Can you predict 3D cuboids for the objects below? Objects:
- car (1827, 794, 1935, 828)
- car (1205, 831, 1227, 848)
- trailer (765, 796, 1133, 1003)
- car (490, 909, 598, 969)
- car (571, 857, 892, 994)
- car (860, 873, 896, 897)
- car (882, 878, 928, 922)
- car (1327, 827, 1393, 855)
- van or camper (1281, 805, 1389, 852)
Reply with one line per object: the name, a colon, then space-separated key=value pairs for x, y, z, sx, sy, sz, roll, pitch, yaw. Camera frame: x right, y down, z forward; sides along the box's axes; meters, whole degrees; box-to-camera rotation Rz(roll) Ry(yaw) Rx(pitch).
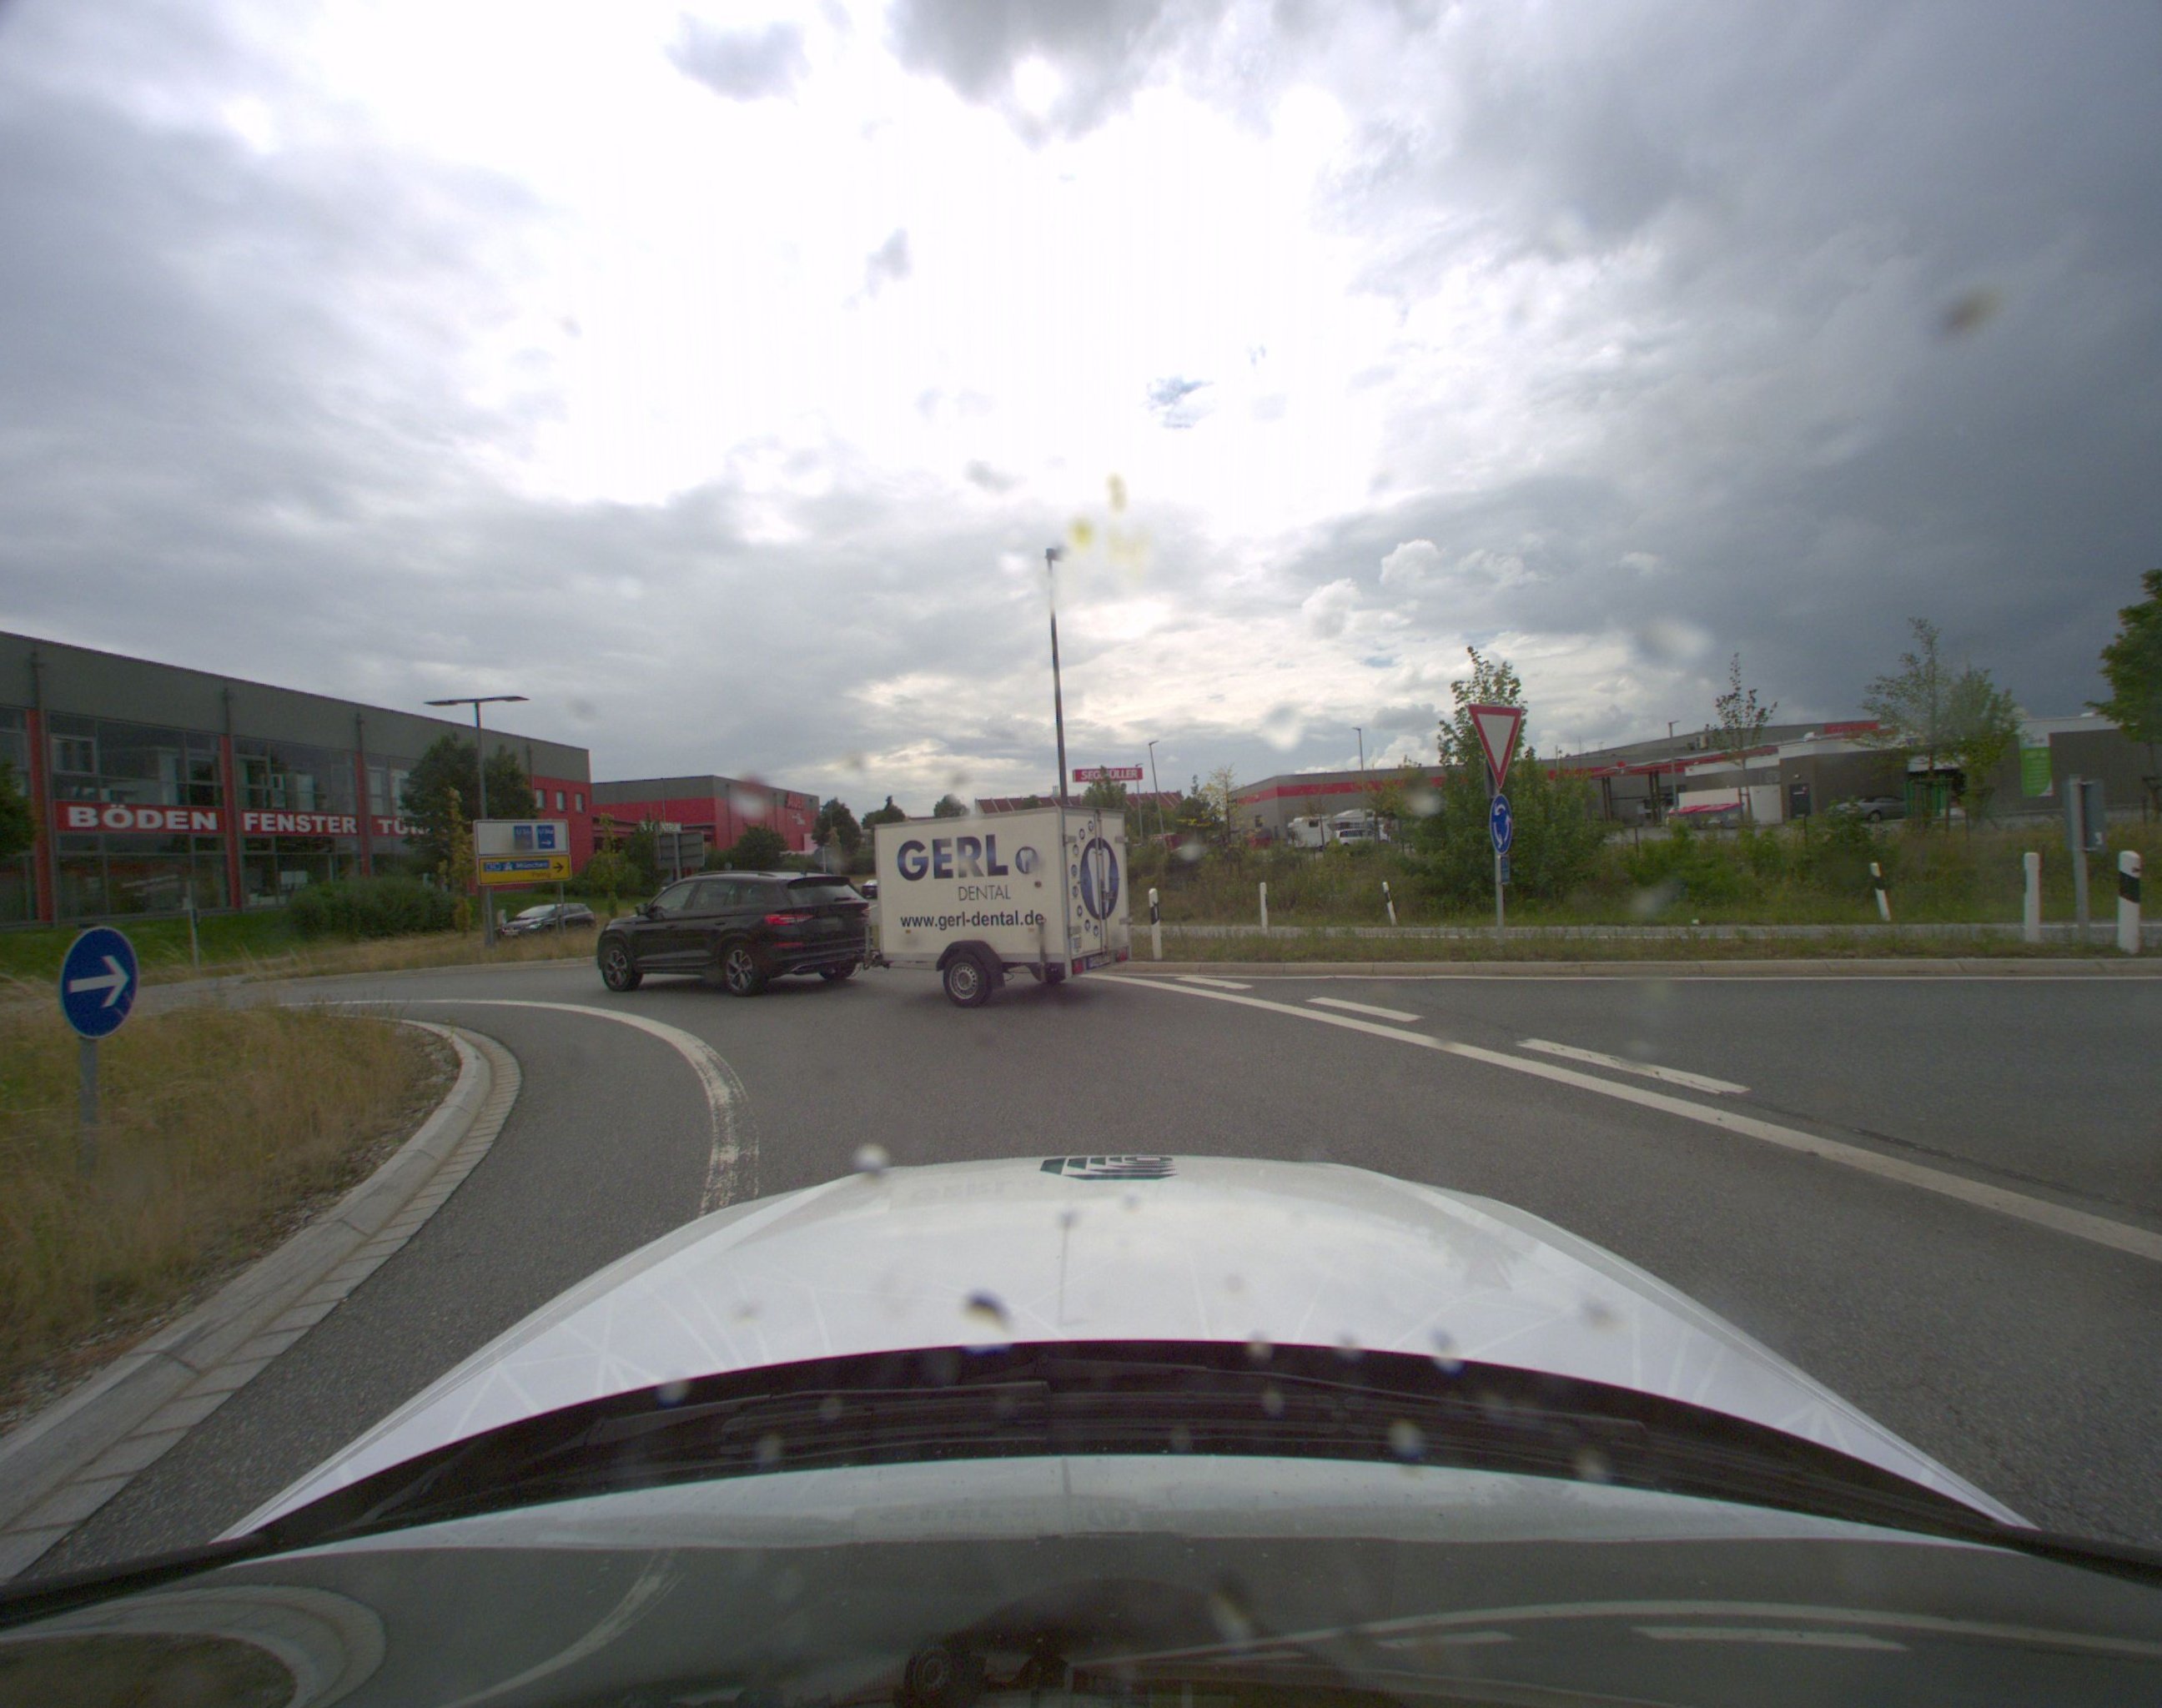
car: x=40.522 y=-2.158 z=41.300 sx=3.979 sy=1.431 sz=1.668 roll=-3 pitch=-1 yaw=-4
car: x=16.479 y=-1.788 z=99.774 sx=1.695 sy=1.811 sz=3.967 roll=-6 pitch=0 yaw=-2
trailer: x=-1.672 y=0.536 z=10.012 sx=4.093 sy=2.091 sz=1.824 roll=-3 pitch=0 yaw=29
car: x=-20.658 y=3.216 z=31.537 sx=1.672 sy=1.771 sz=3.950 roll=-3 pitch=1 yaw=-4
car: x=-5.174 y=1.003 z=11.907 sx=4.557 sy=1.670 sz=1.828 roll=-3 pitch=-2 yaw=29
car: x=-14.903 y=2.273 z=59.922 sx=1.904 sy=1.618 sz=3.992 roll=-3 pitch=-1 yaw=-6
car: x=-8.410 y=2.146 z=38.761 sx=1.872 sy=1.604 sz=3.717 roll=-6 pitch=2 yaw=-14
car: x=19.785 y=-0.914 z=57.782 sx=4.033 sy=1.720 sz=1.781 roll=-4 pitch=0 yaw=2
van or camper: x=20.073 y=-2.001 z=64.597 sx=7.692 sy=3.178 sz=2.491 roll=-4 pitch=1 yaw=-2
